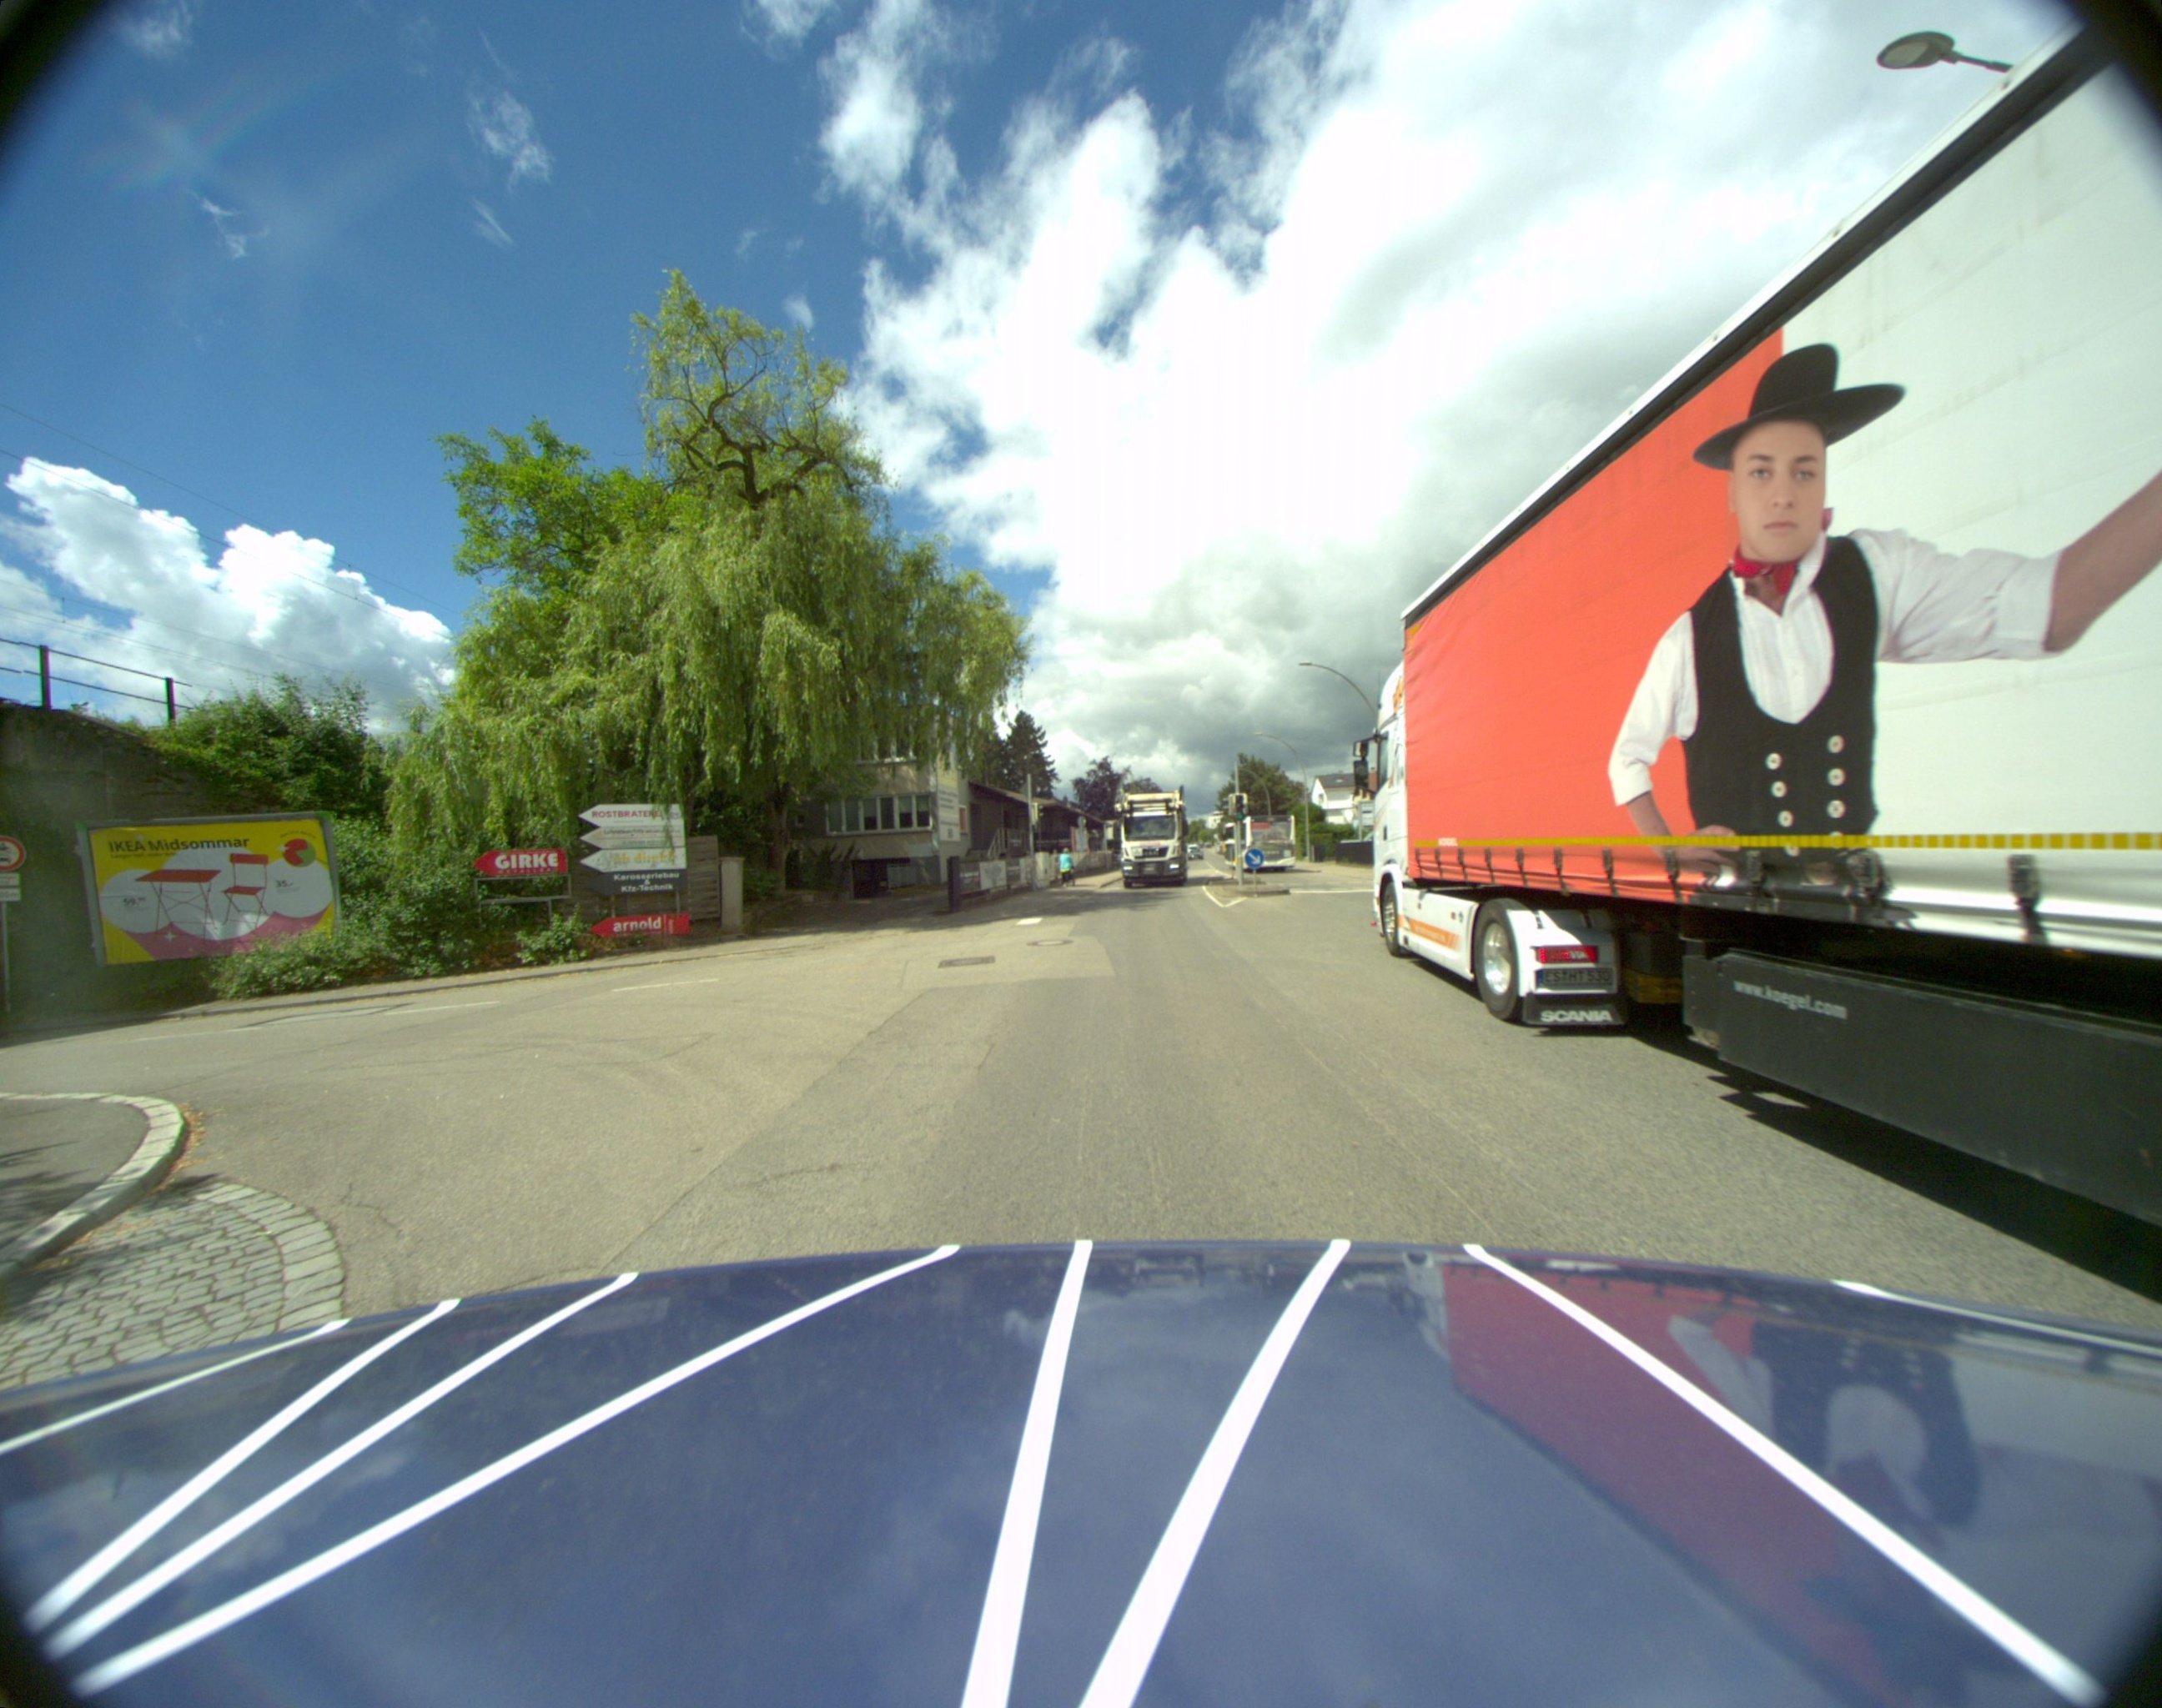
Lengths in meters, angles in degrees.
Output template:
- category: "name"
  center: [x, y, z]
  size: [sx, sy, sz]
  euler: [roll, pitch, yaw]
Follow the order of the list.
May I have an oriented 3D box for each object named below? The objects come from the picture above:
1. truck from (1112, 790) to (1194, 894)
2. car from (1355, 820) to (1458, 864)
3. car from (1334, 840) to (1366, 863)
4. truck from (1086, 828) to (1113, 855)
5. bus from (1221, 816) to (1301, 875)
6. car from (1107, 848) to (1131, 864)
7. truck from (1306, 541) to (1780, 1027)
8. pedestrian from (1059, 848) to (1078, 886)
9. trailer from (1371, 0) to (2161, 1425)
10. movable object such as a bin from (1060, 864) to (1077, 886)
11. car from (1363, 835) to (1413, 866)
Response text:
- category: "truck"
  center: [3.438, -0.523, 33.494]
  size: [2.663, 3.789, 9.821]
  euler: [-2, 1, 10]
- category: "car"
  center: [19.557, -0.720, 45.932]
  size: [5.360, 2.371, 2.106]
  euler: [-2, 1, 11]
- category: "car"
  center: [18.845, -0.195, 53.327]
  size: [1.886, 1.450, 4.354]
  euler: [-3, 1, 18]
- category: "truck"
  center: [2.088, -1.395, 83.830]
  size: [2.090, 2.812, 5.206]
  euler: [-2, 1, 10]
- category: "bus"
  center: [10.523, -0.560, 45.779]
  size: [2.725, 3.013, 12.267]
  euler: [-1, 1, 4]
- category: "car"
  center: [4.157, 0.218, 82.173]
  size: [1.861, 1.521, 5.206]
  euler: [-2, 1, 10]
- category: "truck"
  center: [4.763, -0.606, 9.125]
  size: [2.777, 4.096, 4.987]
  euler: [-3, 1, 4]
- category: "pedestrian"
  center: [-0.519, 0.531, 30.964]
  size: [0.733, 1.534, 0.841]
  euler: [0, 1, -3]
- category: "trailer"
  center: [4.136, -0.549, 0.653]
  size: [2.777, 4.121, 15.353]
  euler: [-3, 1, 4]
- category: "movable object such as a bin"
  center: [-0.533, 0.861, 31.444]
  size: [0.670, 0.866, 0.748]
  euler: [0, 1, -2]
- category: "car"
  center: [17.081, -0.211, 42.441]
  size: [1.812, 1.612, 3.623]
  euler: [-2, 1, 10]
